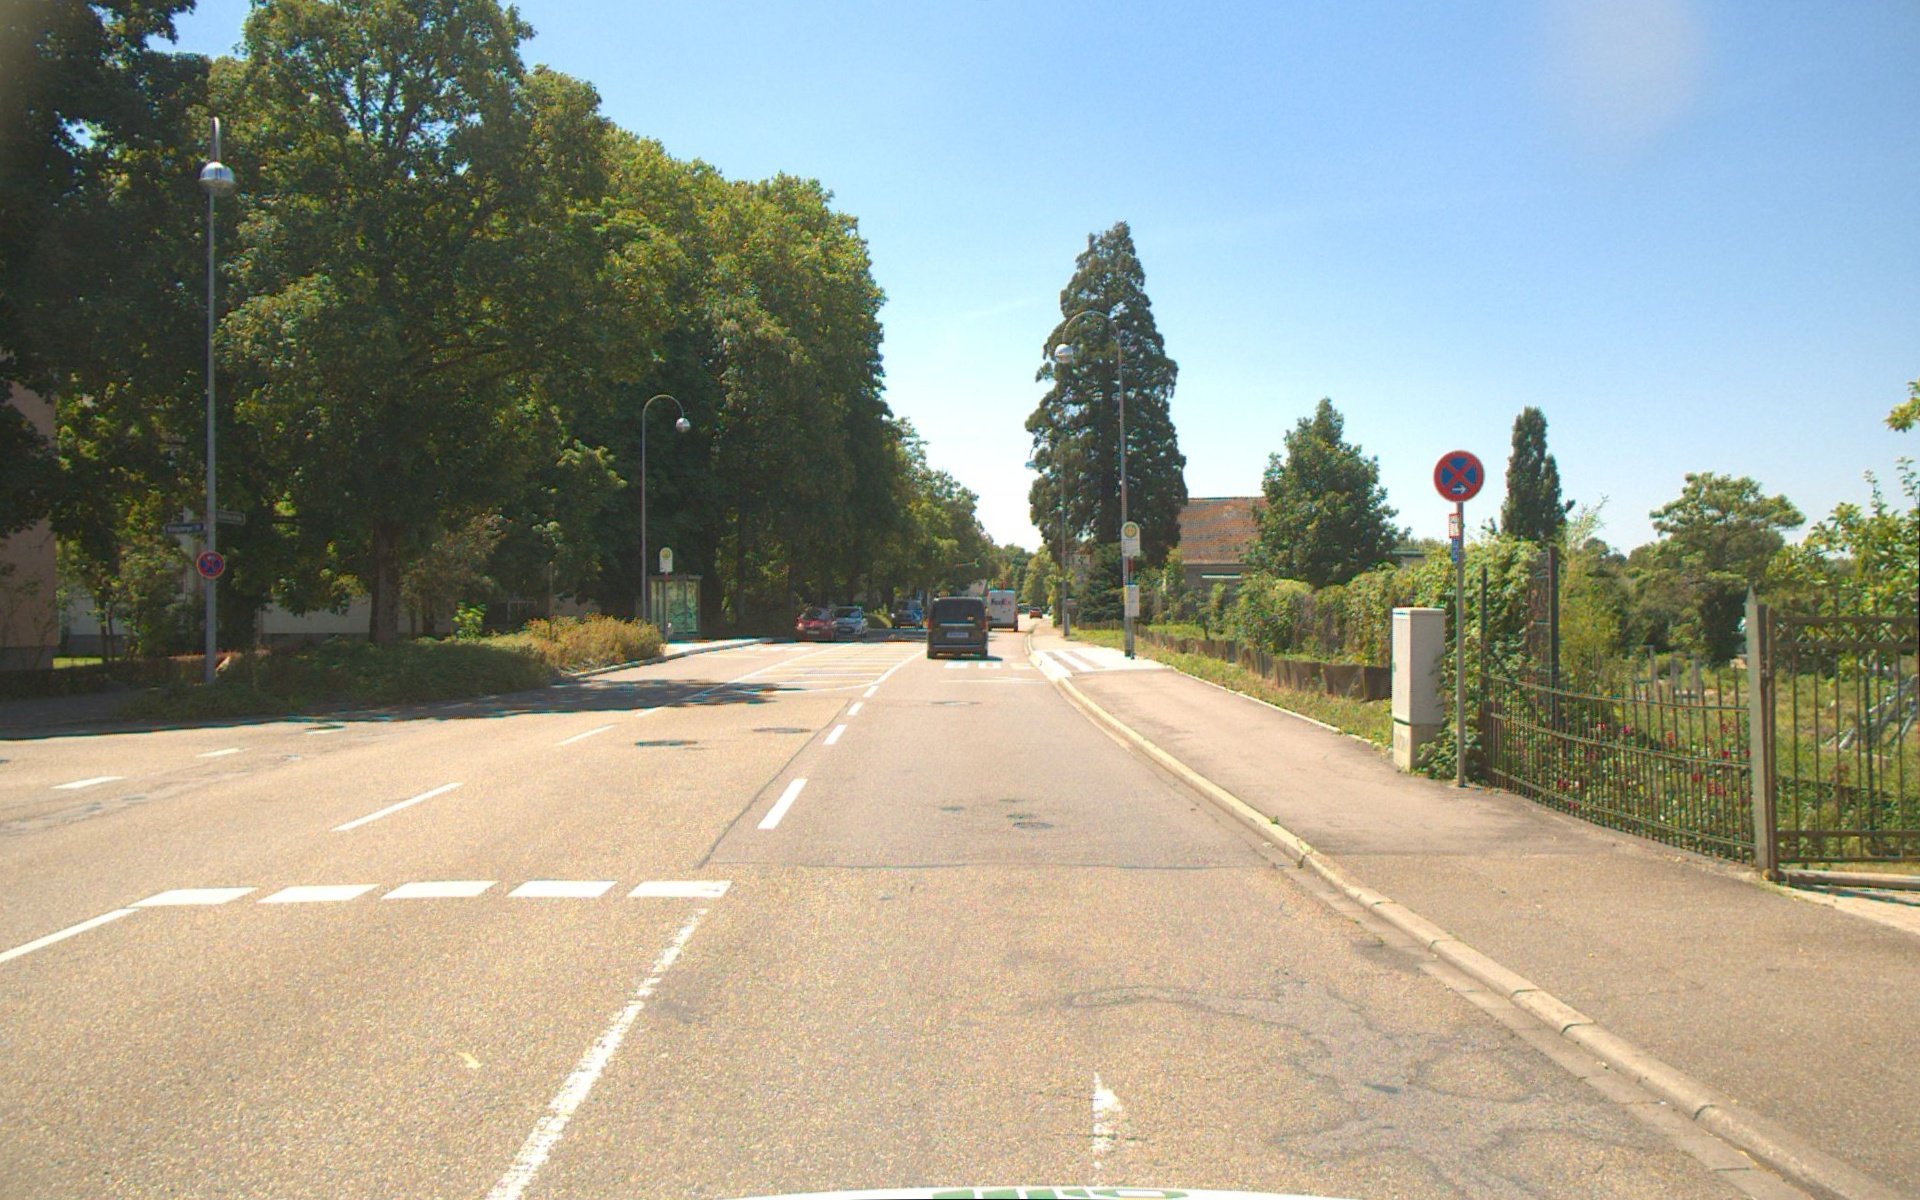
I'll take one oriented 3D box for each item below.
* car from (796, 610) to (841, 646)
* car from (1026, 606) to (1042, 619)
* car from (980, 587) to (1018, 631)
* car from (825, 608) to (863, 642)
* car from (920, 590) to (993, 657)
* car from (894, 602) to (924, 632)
[{"bbox_3d":[-5.975,1.178,70.124,1.518,1.476,3.690,1,0,0],"label":"car"},{"bbox_3d":[10.157,1.755,227.195,1.820,1.671,4.000,1,0,-1],"label":"car"},{"bbox_3d":[2.511,0.557,107.294,2.077,2.724,5.660,1,0,-2],"label":"car"},{"bbox_3d":[-5.594,1.185,79.561,1.658,1.485,3.634,1,0,-7],"label":"car"},{"bbox_3d":[-0.141,0.689,50.609,1.954,1.926,3.997,1,0,-4],"label":"car"},{"bbox_3d":[-3.492,1.117,113.323,1.954,1.943,4.988,1,0,-3],"label":"car"}]
